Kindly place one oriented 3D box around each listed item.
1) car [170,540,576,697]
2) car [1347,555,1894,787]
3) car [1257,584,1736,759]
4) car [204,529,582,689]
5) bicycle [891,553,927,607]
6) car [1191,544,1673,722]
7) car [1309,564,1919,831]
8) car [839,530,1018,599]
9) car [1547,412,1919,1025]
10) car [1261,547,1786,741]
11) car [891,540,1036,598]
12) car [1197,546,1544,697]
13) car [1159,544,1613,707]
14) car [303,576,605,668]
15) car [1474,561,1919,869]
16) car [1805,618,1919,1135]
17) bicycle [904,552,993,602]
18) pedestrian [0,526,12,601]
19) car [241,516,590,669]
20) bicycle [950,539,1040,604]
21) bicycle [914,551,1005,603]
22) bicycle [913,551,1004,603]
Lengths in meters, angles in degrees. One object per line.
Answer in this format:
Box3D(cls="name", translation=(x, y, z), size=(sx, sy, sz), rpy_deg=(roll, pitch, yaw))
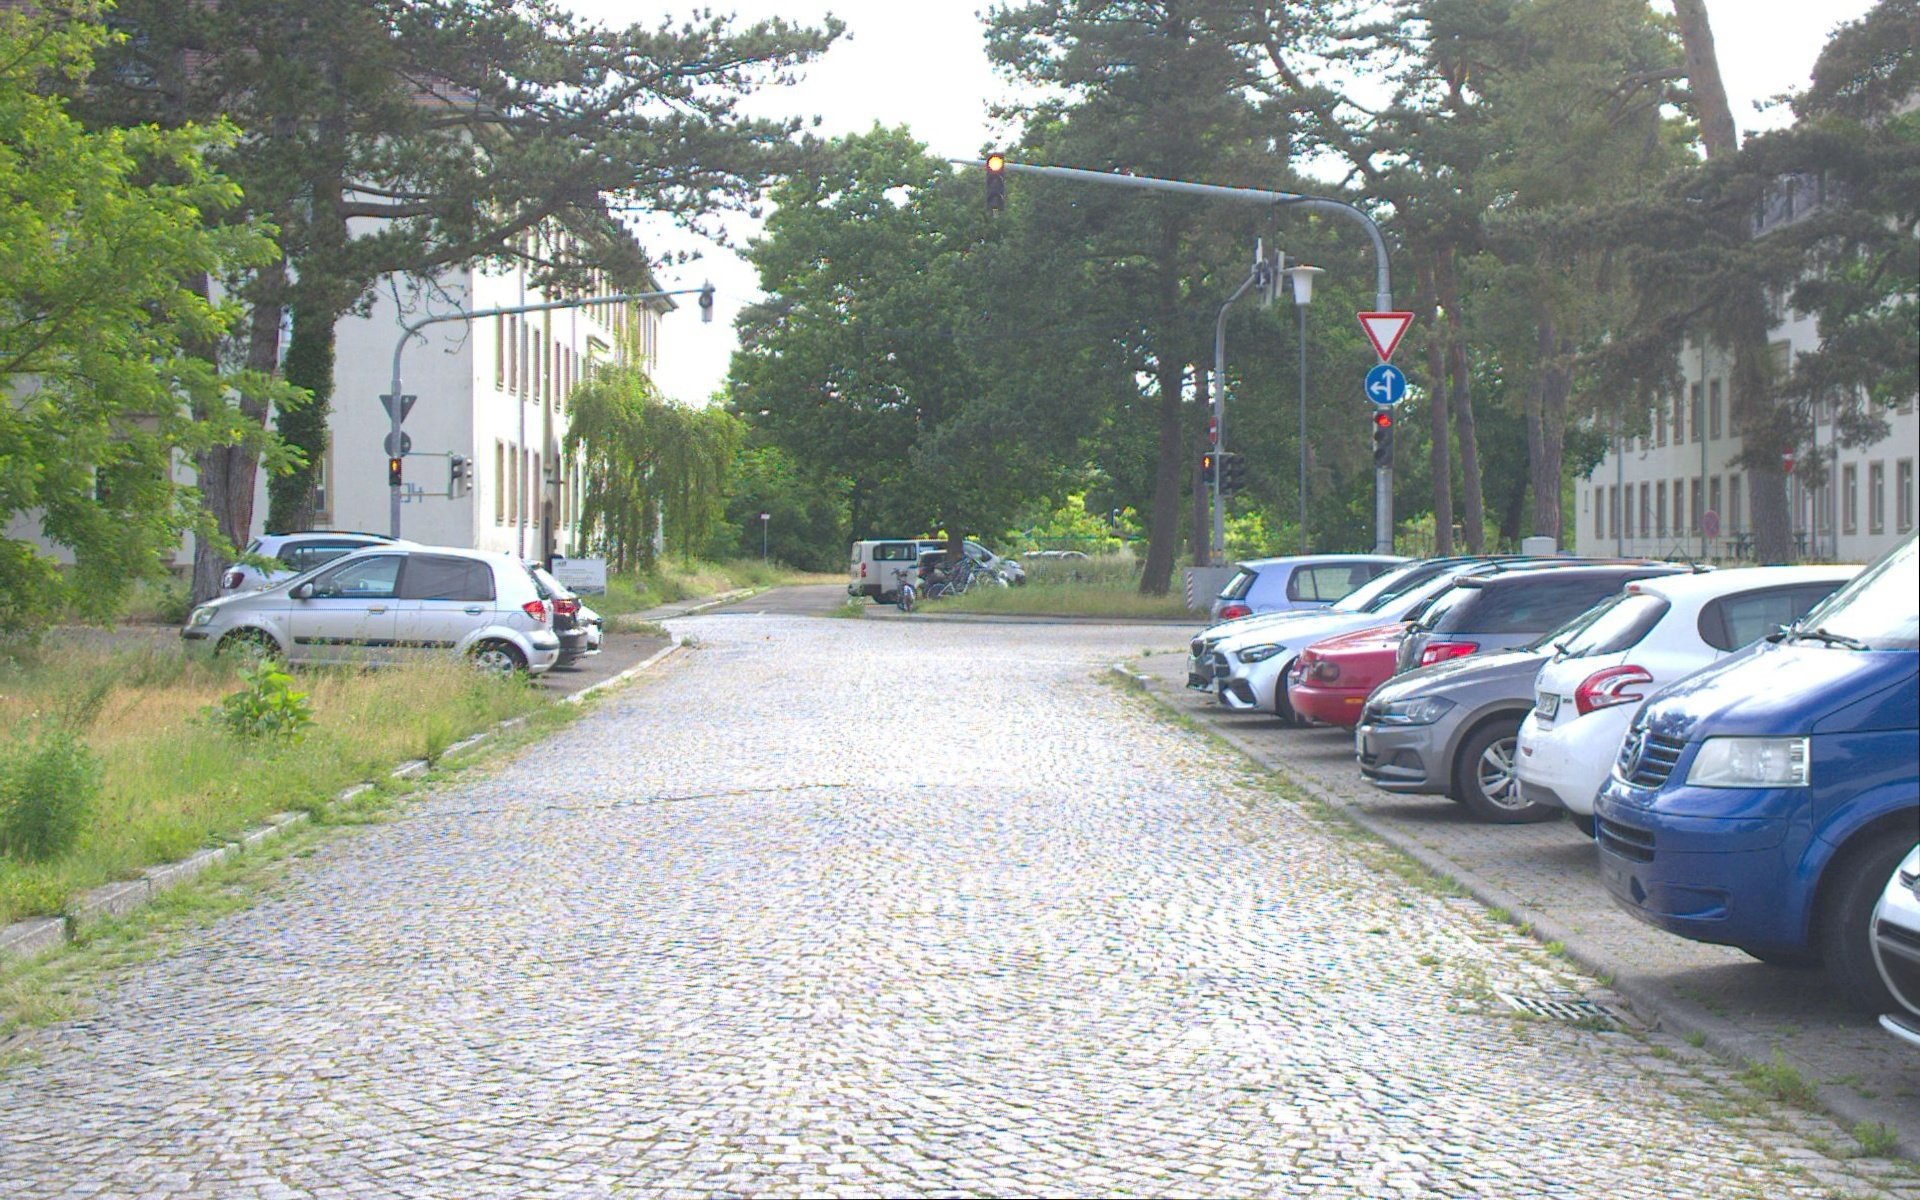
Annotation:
Box3D(cls="car", translation=(-5.956, 0.165, 35.236), size=(3.986, 1.546, 2.001), rpy_deg=(0, 1, -7))
Box3D(cls="car", translation=(4.495, 0.452, 23.603), size=(3.291, 1.499, 1.665), rpy_deg=(0, 1, -11))
Box3D(cls="car", translation=(4.059, 0.523, 26.314), size=(3.291, 1.263, 1.664), rpy_deg=(0, 1, -7))
Box3D(cls="car", translation=(-6.165, 0.074, 37.720), size=(3.986, 1.700, 2.001), rpy_deg=(0, 1, -7))
Box3D(cls="bicycle", translation=(-1.205, -0.479, 81.331), size=(0.810, 1.264, 1.973), rpy_deg=(0, 1, 0))
Box3D(cls="car", translation=(4.192, 0.274, 30.852), size=(3.986, 1.538, 1.664), rpy_deg=(0, 1, -6))
Box3D(cls="car", translation=(4.080, 0.540, 20.719), size=(3.597, 1.501, 1.665), rpy_deg=(0, 1, -11))
Box3D(cls="car", translation=(-0.955, -1.077, 102.916), size=(5.049, 2.007, 2.001), rpy_deg=(0, 1, -11))
Box3D(cls="car", translation=(4.684, 0.392, 12.380), size=(4.781, 2.033, 1.738), rpy_deg=(0, 1, -3))
Box3D(cls="car", translation=(4.637, 0.350, 28.567), size=(3.986, 1.538, 1.664), rpy_deg=(0, 1, -7))
Box3D(cls="car", translation=(0.077, -0.903, 99.653), size=(3.986, 1.638, 2.000), rpy_deg=(0, 1, -7))
Box3D(cls="car", translation=(4.298, 0.210, 36.181), size=(3.388, 1.538, 1.391), rpy_deg=(0, 1, -6))
Box3D(cls="car", translation=(4.122, 0.229, 33.608), size=(4.122, 1.538, 1.664), rpy_deg=(0, 1, -6))
Box3D(cls="car", translation=(-6.301, 0.261, 42.993), size=(3.670, 1.090, 1.647), rpy_deg=(0, 1, -7))
Box3D(cls="car", translation=(4.465, 0.558, 17.820), size=(3.292, 1.499, 1.664), rpy_deg=(0, 1, -3))
Box3D(cls="car", translation=(4.523, 0.749, 9.888), size=(3.722, 1.419, 1.655), rpy_deg=(-1, 1, -3))
Box3D(cls="bicycle", translation=(-0.303, -0.584, 86.903), size=(2.160, 1.264, 0.812), rpy_deg=(0, 1, -7))
Box3D(cls="pedestrian", translation=(-19.637, -0.735, 69.091), size=(0.898, 1.493, 0.904), rpy_deg=(0, 1, 0))
Box3D(cls="car", translation=(-6.426, -0.099, 40.784), size=(3.986, 1.744, 1.927), rpy_deg=(0, 1, -8))
Box3D(cls="bicycle", translation=(0.877, -0.727, 86.413), size=(2.160, 1.610, 0.812), rpy_deg=(0, 1, -7))
Box3D(cls="bicycle", translation=(-0.025, -0.569, 85.106), size=(2.160, 1.264, 0.812), rpy_deg=(0, 1, -7))
Box3D(cls="bicycle", translation=(-0.041, -0.572, 85.693), size=(2.160, 1.264, 0.812), rpy_deg=(0, 1, -7))
